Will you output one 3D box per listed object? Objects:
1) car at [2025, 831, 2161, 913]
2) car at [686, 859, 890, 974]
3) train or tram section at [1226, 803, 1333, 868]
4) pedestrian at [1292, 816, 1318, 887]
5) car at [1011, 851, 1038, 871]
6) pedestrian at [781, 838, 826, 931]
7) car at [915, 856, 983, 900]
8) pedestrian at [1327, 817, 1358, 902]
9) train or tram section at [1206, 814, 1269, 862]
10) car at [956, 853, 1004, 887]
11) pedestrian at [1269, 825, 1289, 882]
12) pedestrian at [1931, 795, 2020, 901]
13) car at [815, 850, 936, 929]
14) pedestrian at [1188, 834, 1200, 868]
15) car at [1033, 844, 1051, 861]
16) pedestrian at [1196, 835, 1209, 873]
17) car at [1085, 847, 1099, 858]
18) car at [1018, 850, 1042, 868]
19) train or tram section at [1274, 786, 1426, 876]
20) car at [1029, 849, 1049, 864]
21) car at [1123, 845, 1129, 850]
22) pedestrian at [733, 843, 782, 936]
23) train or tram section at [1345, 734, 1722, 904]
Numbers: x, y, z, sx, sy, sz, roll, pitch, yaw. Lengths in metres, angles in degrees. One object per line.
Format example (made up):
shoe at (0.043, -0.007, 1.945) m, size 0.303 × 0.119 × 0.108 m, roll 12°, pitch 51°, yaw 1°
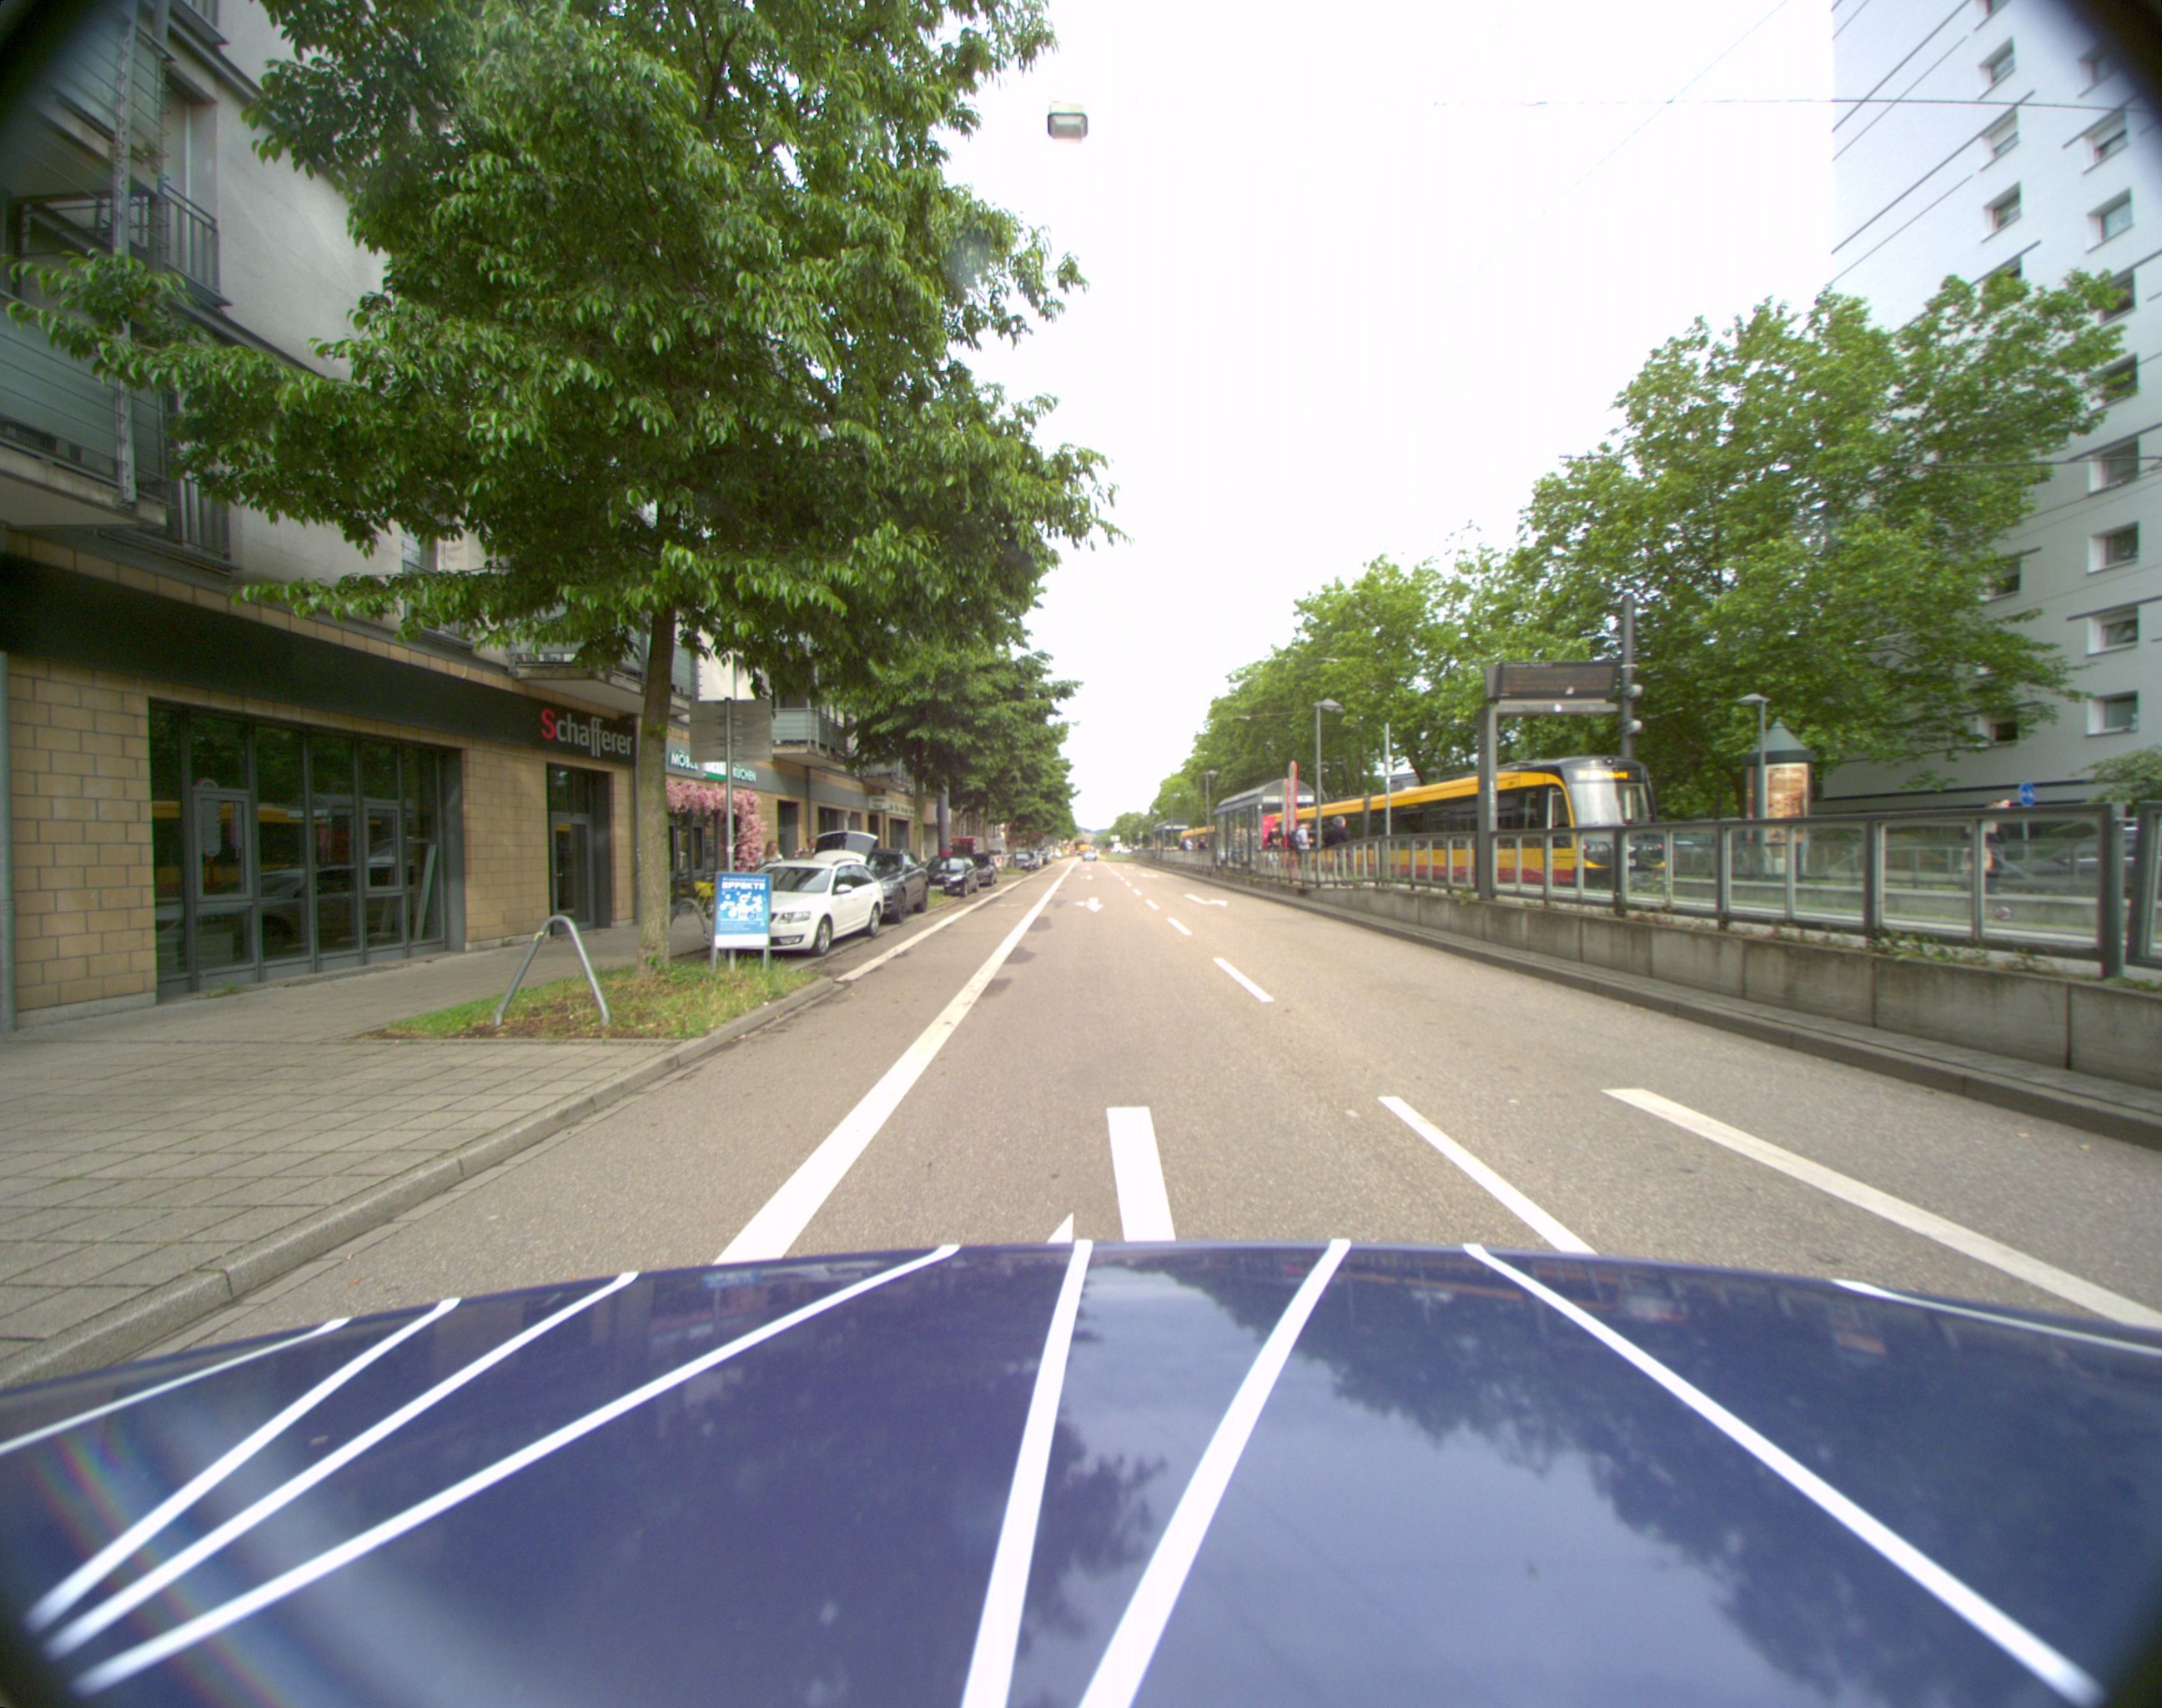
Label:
car at (19.414, 0.298, 13.418) m, size 1.585 × 1.420 × 3.212 m, roll -2°, pitch 1°, yaw -28°
car at (-4.726, 0.902, 12.999) m, size 1.738 × 1.512 × 4.308 m, roll 2°, pitch 1°, yaw 1°
train or tram section at (13.330, -1.211, 53.160) m, size 3.338 × 3.731 × 16.247 m, roll -2°, pitch 1°, yaw 1°
pedestrian at (5.747, -0.064, 19.546) m, size 0.475 × 1.794 × 0.605 m, roll -2°, pitch 1°, yaw 5°
car at (-4.172, 0.481, 56.263) m, size 1.612 × 1.393 × 3.667 m, roll 2°, pitch 1°, yaw 1°
pedestrian at (-5.709, 0.609, 15.680) m, size 0.656 × 1.873 × 0.599 m, roll -1°, pitch 1°, yaw 1°
car at (-4.644, 0.795, 27.273) m, size 1.612 × 1.369 × 4.167 m, roll 2°, pitch 1°, yaw 1°
pedestrian at (5.699, 0.120, 16.578) m, size 0.521 × 1.794 × 0.605 m, roll -2°, pitch 1°, yaw 13°
train or tram section at (13.524, -1.371, 66.814) m, size 3.338 × 3.731 × 11.042 m, roll -2°, pitch 1°, yaw 1°
car at (-4.564, 0.686, 34.734) m, size 1.612 × 1.393 × 3.667 m, roll 2°, pitch 1°, yaw 1°
pedestrian at (6.305, -0.028, 24.197) m, size 0.474 × 1.794 × 0.606 m, roll -2°, pitch 1°, yaw 26°
pedestrian at (15.346, -0.105, 13.050) m, size 0.738 × 1.740 × 0.666 m, roll -2°, pitch 1°, yaw 1°
car at (-4.722, 0.743, 18.001) m, size 1.738 × 1.601 × 3.798 m, roll 2°, pitch 1°, yaw 1°
pedestrian at (6.132, -0.177, 41.338) m, size 0.530 × 1.794 × 0.606 m, roll -2°, pitch 1°, yaw 14°
car at (-3.973, -0.138, 78.219) m, size 1.612 × 1.674 × 3.806 m, roll 2°, pitch 1°, yaw 1°
pedestrian at (5.840, 0.000, 36.521) m, size 0.530 × 1.794 × 0.606 m, roll -2°, pitch 1°, yaw 14°
car at (1.387, -0.232, 99.123) m, size 1.716 × 1.379 × 4.099 m, roll -2°, pitch 1°, yaw 1°
car at (-4.133, 0.367, 62.162) m, size 1.612 × 1.393 × 3.667 m, roll 2°, pitch 1°, yaw 1°
train or tram section at (13.105, -1.041, 38.731) m, size 3.338 × 3.731 × 12.547 m, roll -2°, pitch 1°, yaw 1°
car at (-3.979, 0.212, 72.448) m, size 1.612 × 1.393 × 3.667 m, roll 2°, pitch 1°, yaw 1°
car at (14.582, -2.098, 245.343) m, size 1.716 × 1.379 × 4.098 m, roll -1°, pitch 1°, yaw -1°
pedestrian at (-6.093, 0.641, 14.320) m, size 0.617 × 1.707 × 0.738 m, roll 0°, pitch 1°, yaw -2°
train or tram section at (12.902, -0.877, 24.820) m, size 3.338 × 3.731 × 15.201 m, roll -2°, pitch 1°, yaw 1°
